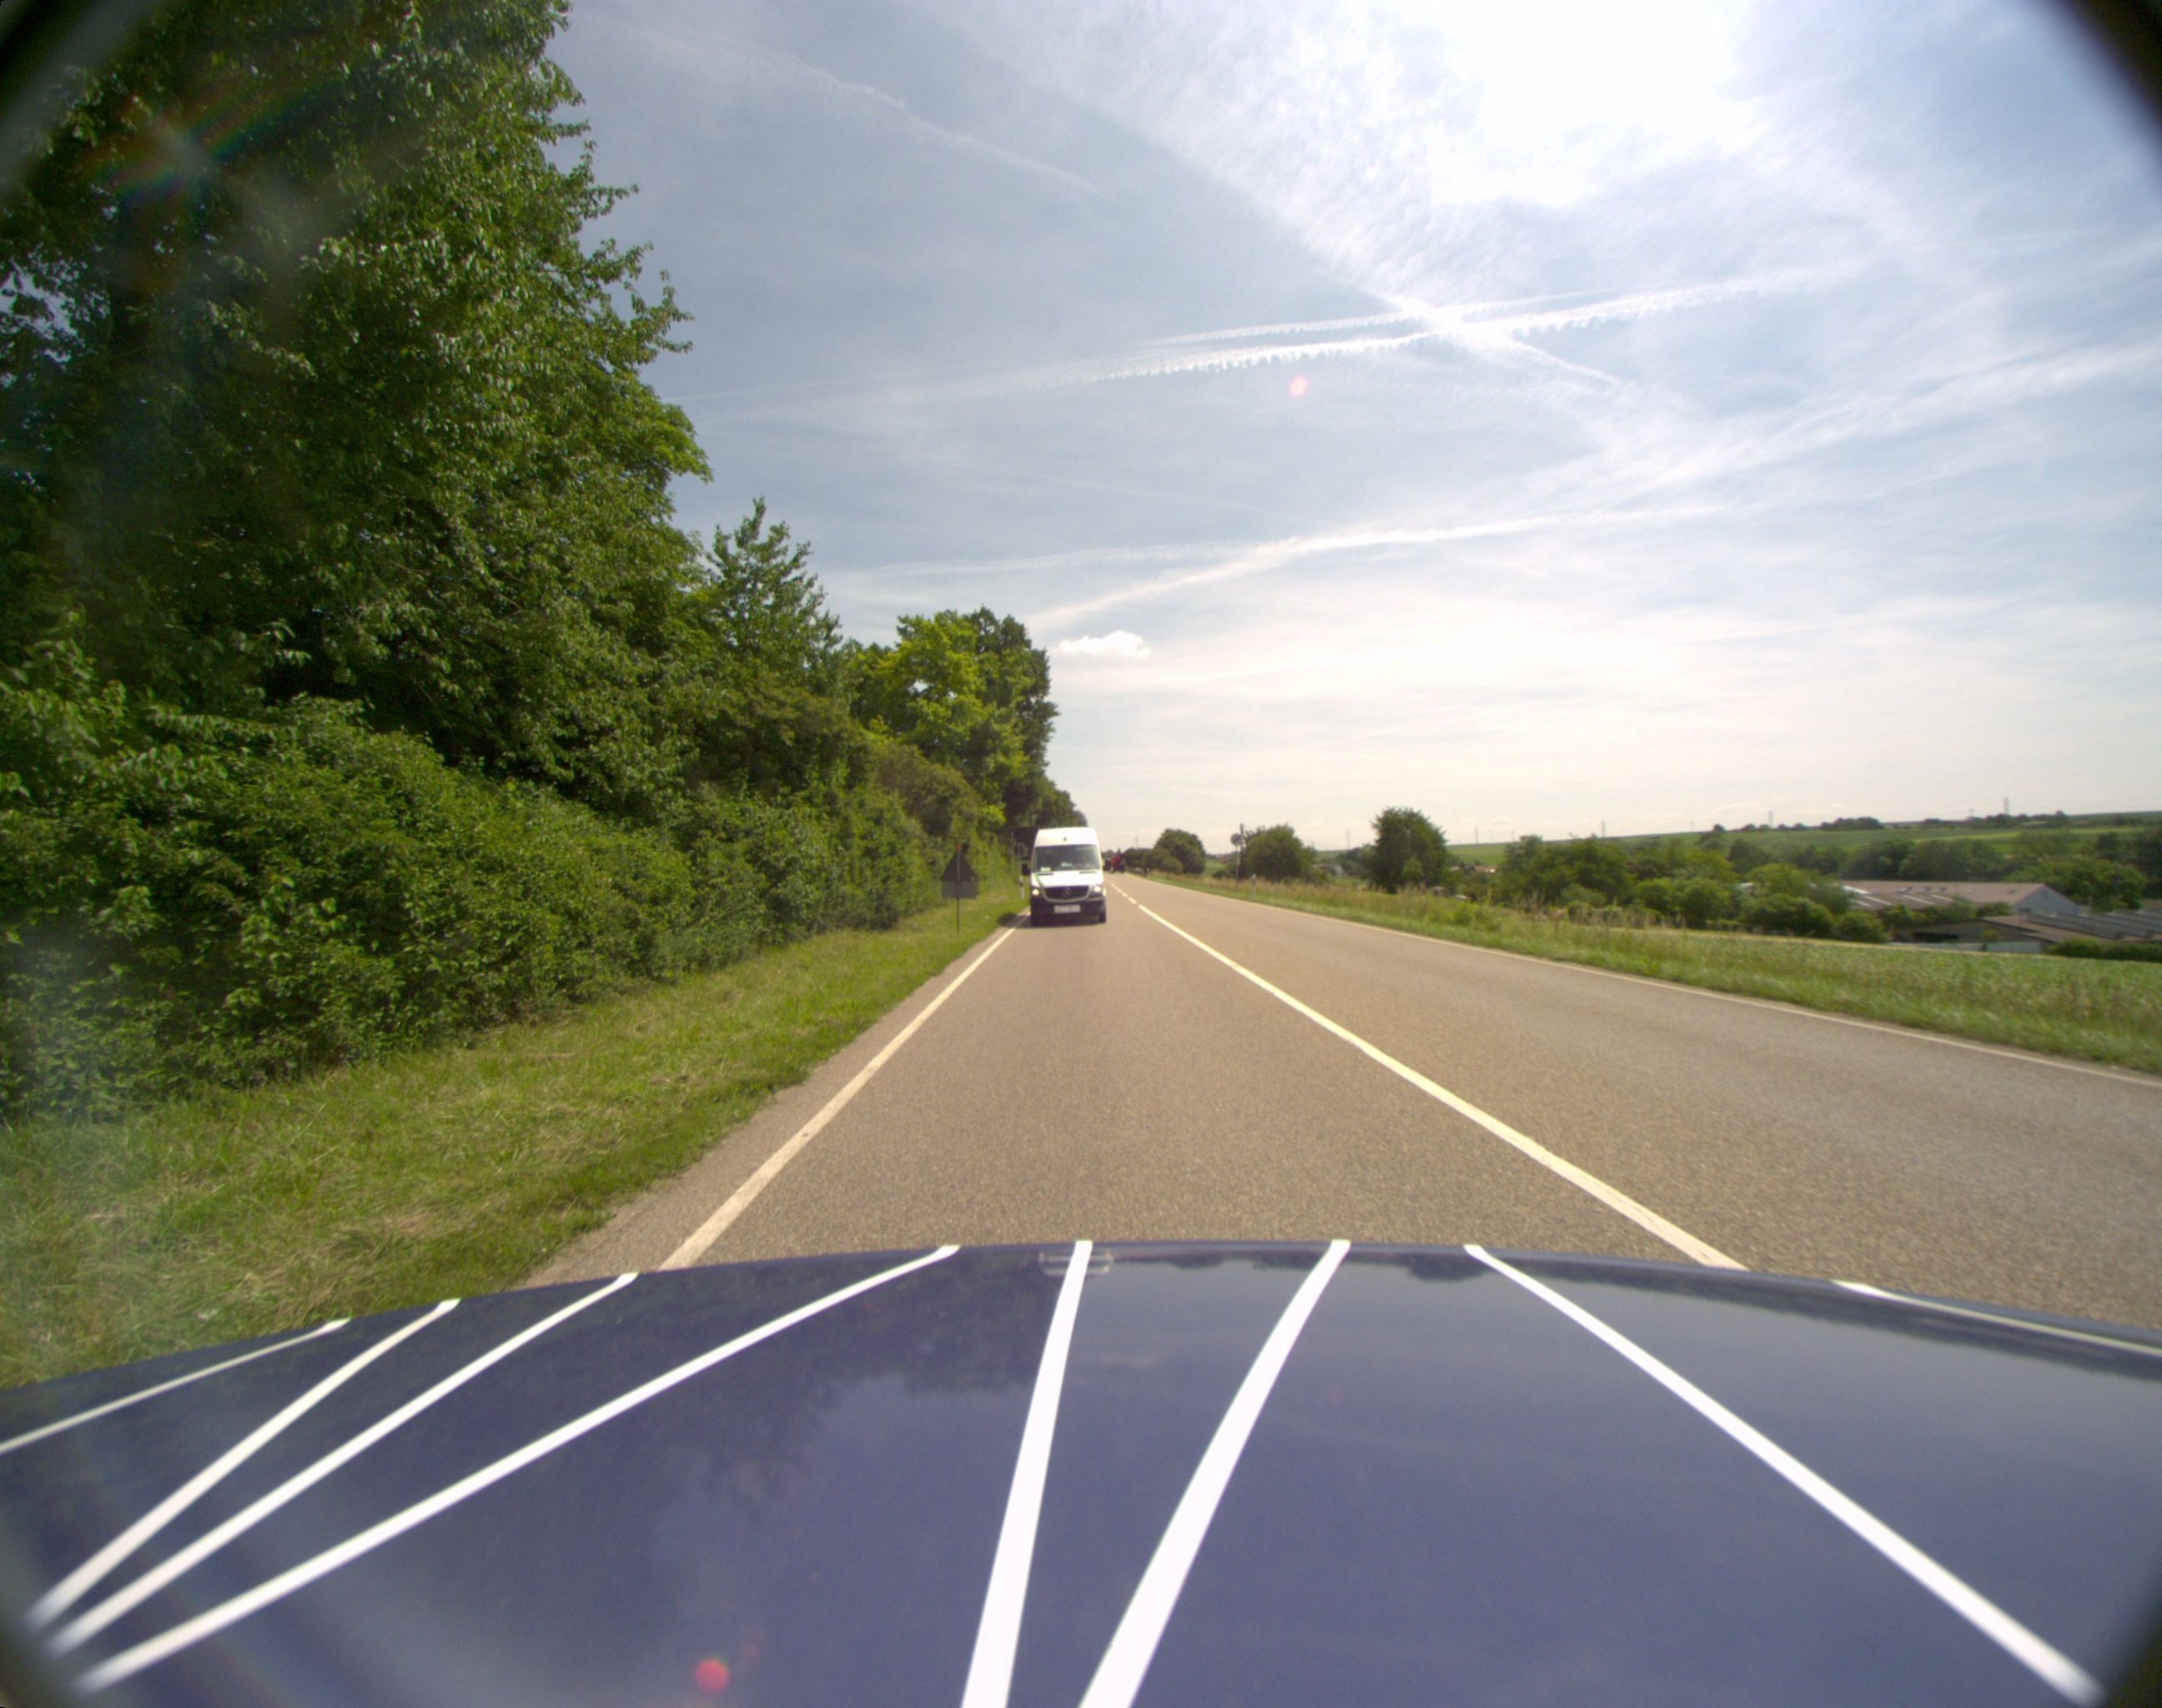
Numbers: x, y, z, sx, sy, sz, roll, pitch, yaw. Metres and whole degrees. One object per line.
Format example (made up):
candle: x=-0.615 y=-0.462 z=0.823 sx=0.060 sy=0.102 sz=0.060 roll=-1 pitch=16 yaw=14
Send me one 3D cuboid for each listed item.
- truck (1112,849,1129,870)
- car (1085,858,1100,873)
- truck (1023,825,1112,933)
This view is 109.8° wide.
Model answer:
truck: x=6.939 y=1.074 z=135.079 sx=2.763 sy=3.554 sz=11.068 roll=1 pitch=-1 yaw=2
car: x=1.669 y=1.633 z=108.219 sx=1.998 sy=2.002 sz=4.001 roll=2 pitch=0 yaw=3
truck: x=-0.191 y=0.631 z=22.183 sx=2.022 sy=2.567 sz=7.227 roll=-2 pitch=0 yaw=3
